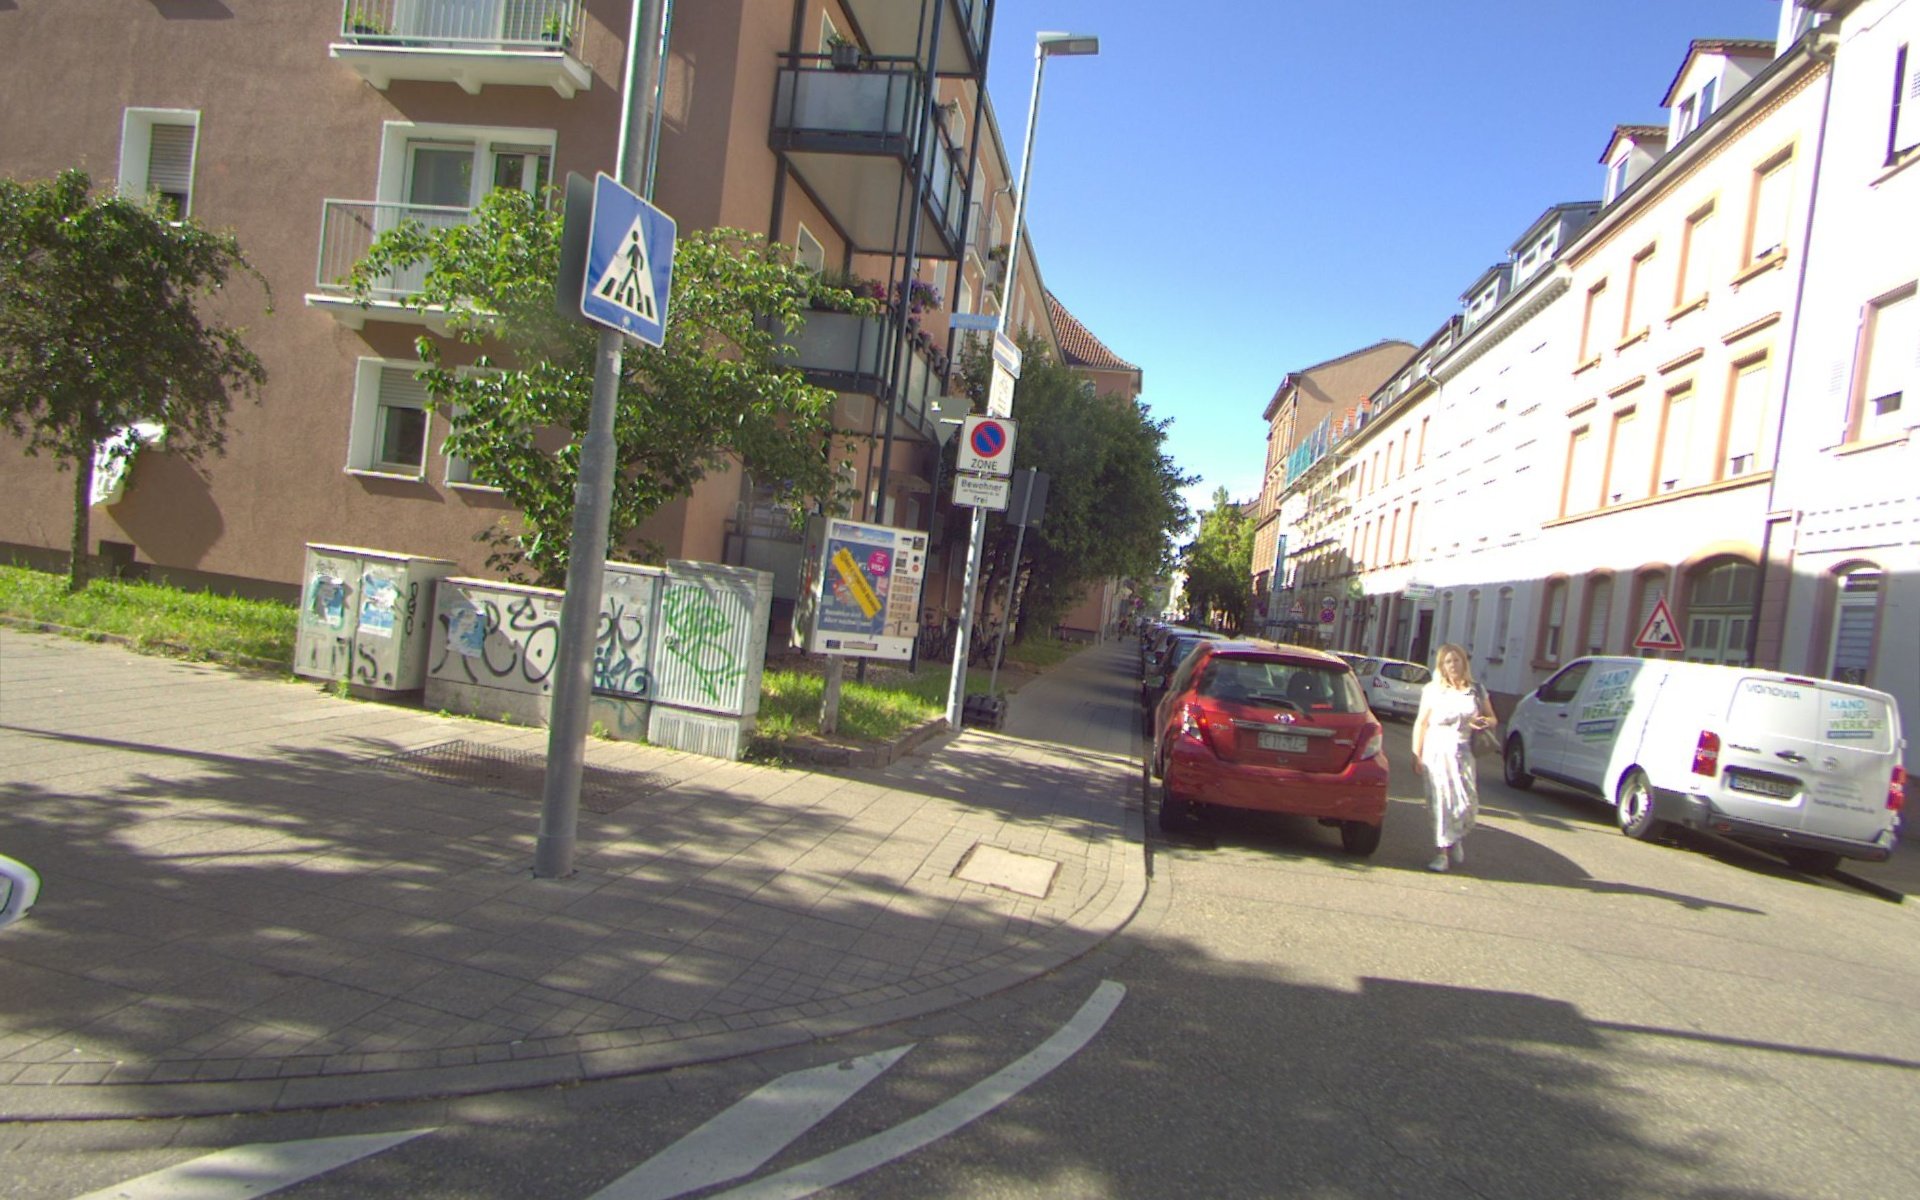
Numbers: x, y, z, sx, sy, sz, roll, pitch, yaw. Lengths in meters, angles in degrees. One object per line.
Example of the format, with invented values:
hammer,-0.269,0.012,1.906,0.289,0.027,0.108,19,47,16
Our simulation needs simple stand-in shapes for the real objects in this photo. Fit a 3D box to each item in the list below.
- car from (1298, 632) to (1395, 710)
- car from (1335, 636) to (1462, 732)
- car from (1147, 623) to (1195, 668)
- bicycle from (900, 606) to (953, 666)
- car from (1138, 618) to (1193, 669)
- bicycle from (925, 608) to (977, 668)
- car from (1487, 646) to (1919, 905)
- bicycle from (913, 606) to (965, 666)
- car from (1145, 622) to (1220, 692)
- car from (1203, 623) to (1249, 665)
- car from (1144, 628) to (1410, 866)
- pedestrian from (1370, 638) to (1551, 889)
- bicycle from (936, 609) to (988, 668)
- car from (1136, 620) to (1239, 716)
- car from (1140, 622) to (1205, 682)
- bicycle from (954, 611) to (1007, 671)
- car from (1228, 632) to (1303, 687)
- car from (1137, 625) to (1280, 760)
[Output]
car,11.525,2.053,30.258,1.864,1.882,3.995,8,0,11
car,10.777,1.985,25.033,1.864,1.882,3.995,8,0,11
car,8.527,1.795,40.744,1.627,1.519,3.764,8,0,11
bicycle,-0.695,0.717,20.327,0.289,1.048,1.203,6,2,-39
car,7.327,1.498,35.921,1.627,1.519,3.764,8,0,11
bicycle,-0.196,0.773,20.723,0.251,1.084,1.203,6,2,-39
car,8.168,1.693,11.628,1.865,1.882,5.015,10,1,9
bicycle,-0.436,0.730,20.542,0.264,1.086,1.203,6,2,-39
car,5.831,1.438,26.639,1.627,1.519,3.764,8,0,11
car,13.890,2.245,52.749,1.864,1.882,3.995,8,0,11
car,2.601,1.095,9.114,1.658,1.519,3.807,5,0,9
pedestrian,3.620,1.151,7.357,0.722,1.634,0.816,7,1,-1
bicycle,0.034,0.794,20.942,0.251,1.085,1.203,6,2,-39
car,4.472,1.274,20.043,1.627,1.519,3.764,8,0,11
car,6.433,1.530,30.596,1.627,1.519,3.764,8,0,11
bicycle,0.413,0.841,20.932,0.251,1.085,1.206,6,2,-39
car,9.946,1.889,33.040,1.802,1.475,3.964,7,0,11
car,3.615,1.237,15.067,1.627,1.519,4.081,8,0,11
